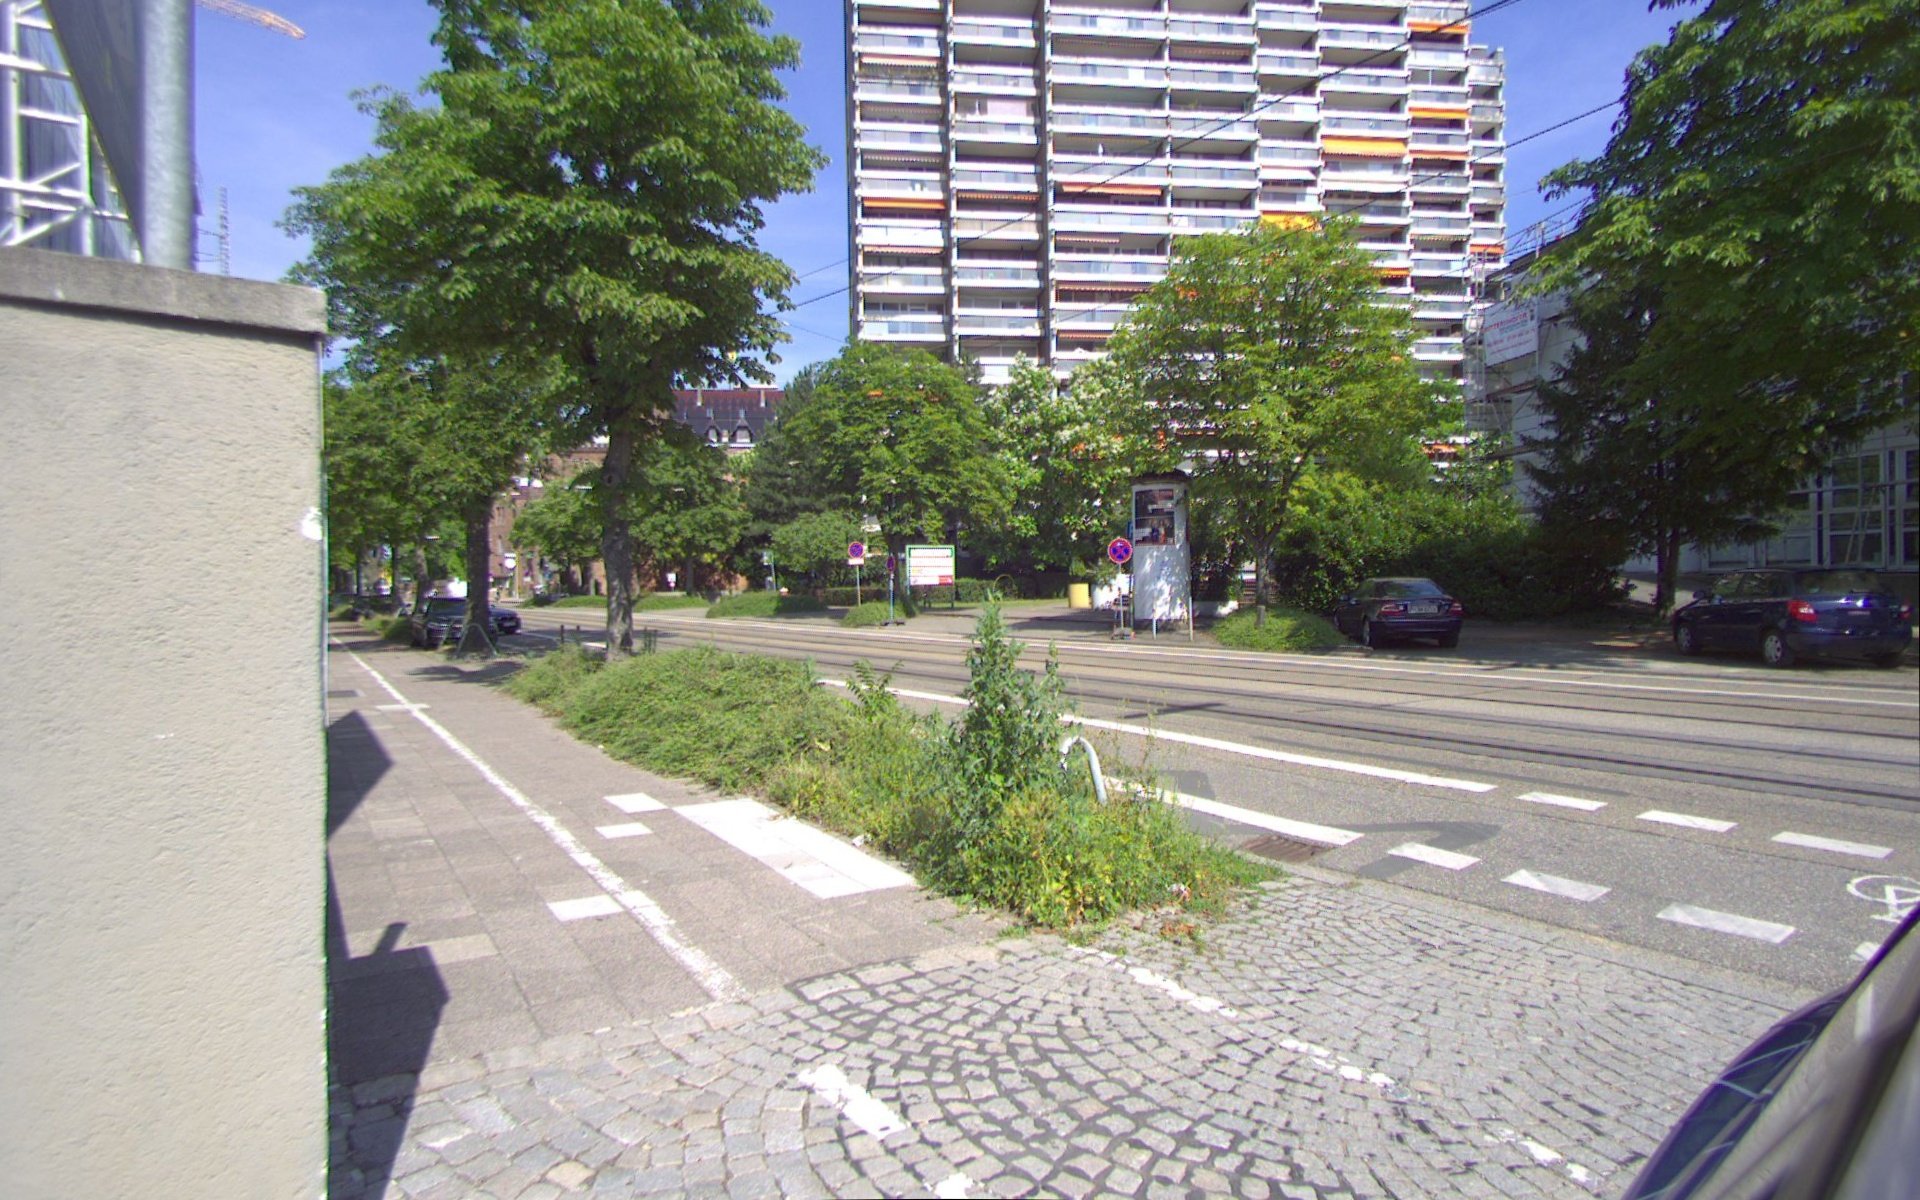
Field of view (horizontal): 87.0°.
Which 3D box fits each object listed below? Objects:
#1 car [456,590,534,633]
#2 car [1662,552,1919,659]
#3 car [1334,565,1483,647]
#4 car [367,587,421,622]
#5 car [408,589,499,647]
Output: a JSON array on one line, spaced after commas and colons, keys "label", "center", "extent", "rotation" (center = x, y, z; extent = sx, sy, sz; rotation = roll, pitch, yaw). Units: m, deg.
[{"label": "car", "center": [-16.749, 0.369, 36.387], "extent": [1.653, 1.435, 3.580], "rotation": [-1, 1, -40]}, {"label": "car", "center": [13.006, 0.036, 15.856], "extent": [1.774, 1.466, 3.974], "rotation": [-1, 1, 10]}, {"label": "car", "center": [9.249, 0.056, 21.243], "extent": [1.813, 1.427, 4.138], "rotation": [-2, 2, 9]}, {"label": "car", "center": [-25.541, 0.167, 45.615], "extent": [1.961, 1.498, 4.358], "rotation": [-1, 1, -32]}, {"label": "car", "center": [-14.588, 0.453, 29.014], "extent": [1.961, 1.498, 4.358], "rotation": [-1, 1, -32]}]
